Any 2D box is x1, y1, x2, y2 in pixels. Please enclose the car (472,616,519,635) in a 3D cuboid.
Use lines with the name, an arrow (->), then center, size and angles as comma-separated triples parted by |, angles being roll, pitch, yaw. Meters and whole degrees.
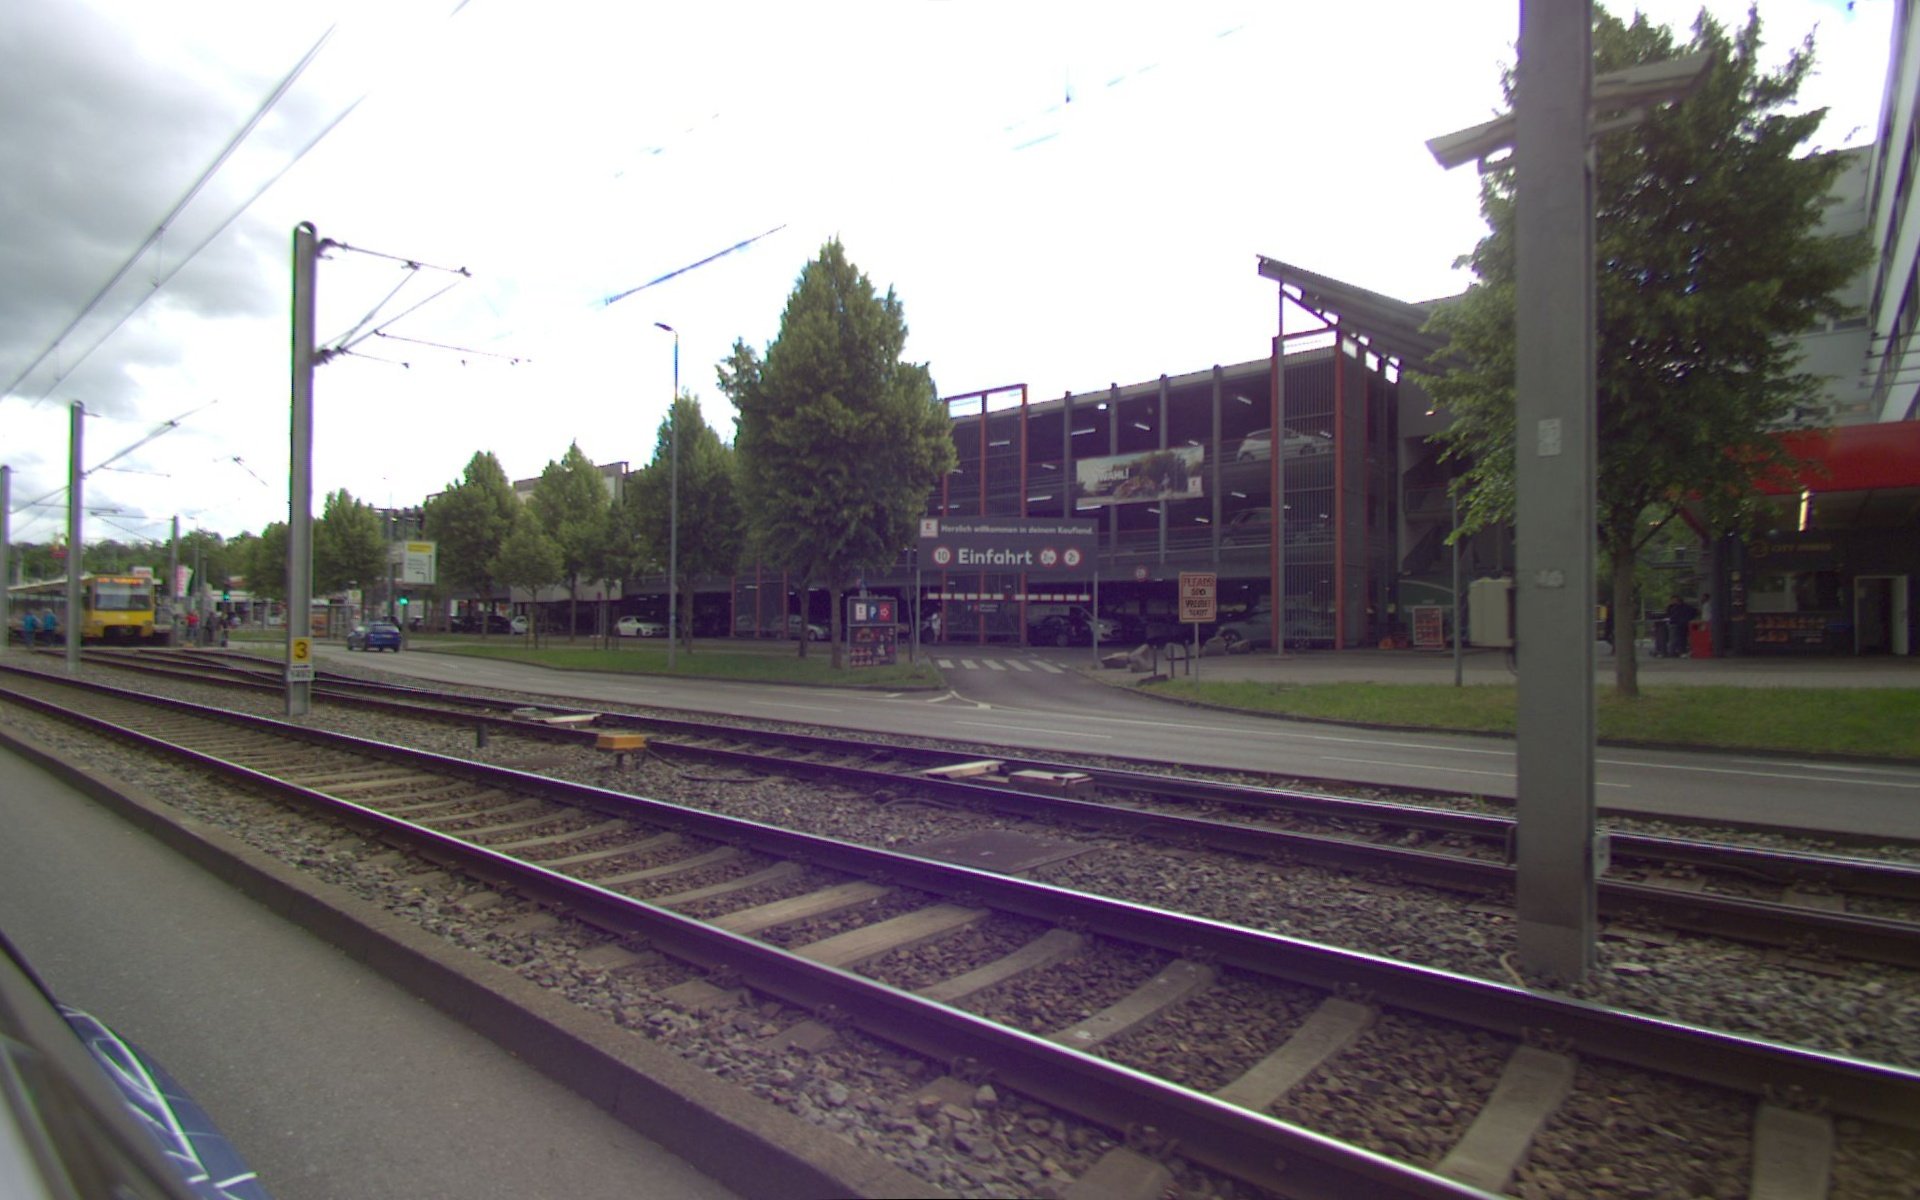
car -> -40.023, 2.173, 87.190 | 4.402, 1.640, 1.973 | -1, -1, 41

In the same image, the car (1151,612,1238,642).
car -> 13.226, 1.525, 57.232 | 4.402, 1.640, 1.973 | -1, -1, 41

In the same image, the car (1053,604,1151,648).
car -> 6.923, 1.264, 49.550 | 4.402, 2.029, 1.973 | -1, -1, 41

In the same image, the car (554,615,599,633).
car -> -35.321, 2.189, 93.166 | 4.402, 1.640, 1.973 | -1, -1, 41

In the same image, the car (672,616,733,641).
car -> -18.123, 1.958, 71.186 | 4.402, 1.712, 1.973 | -1, -1, 41

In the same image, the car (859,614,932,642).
car -> -4.050, 1.708, 62.789 | 4.402, 1.712, 1.973 | -1, -1, 41

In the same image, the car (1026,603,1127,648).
car -> 5.452, 1.199, 47.642 | 4.402, 2.029, 1.973 | -1, -1, 41

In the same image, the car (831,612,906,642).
car -> -5.494, 1.589, 60.627 | 4.402, 1.712, 1.973 | -1, -1, 41

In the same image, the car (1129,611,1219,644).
car -> 11.683, 1.499, 55.362 | 4.402, 1.754, 1.973 | -1, -1, 41

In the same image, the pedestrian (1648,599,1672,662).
pedestrian -> 20.554, 0.892, 29.721 | 0.492, 1.811, 0.372 | -1, -2, 44

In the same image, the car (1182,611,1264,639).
car -> 15.890, 1.496, 61.177 | 4.402, 1.640, 1.973 | -1, -1, 41

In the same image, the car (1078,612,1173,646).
car -> 8.413, 1.446, 51.537 | 4.402, 1.662, 1.973 | -1, -1, 41

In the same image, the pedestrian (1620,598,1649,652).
pedestrian -> 24.464, 0.904, 36.702 | 0.648, 1.941, 0.581 | 0, -1, 10

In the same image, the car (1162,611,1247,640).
car -> 14.325, 1.511, 59.424 | 4.402, 1.640, 1.973 | -1, -1, 41

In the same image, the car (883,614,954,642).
car -> -2.668, 1.779, 64.566 | 4.402, 1.712, 1.973 | -1, -1, 41

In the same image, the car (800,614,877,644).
car -> -7.051, 1.651, 58.566 | 4.402, 1.640, 1.973 | -1, -1, 41

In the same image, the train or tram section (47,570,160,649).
train or tram section -> -46.314, 0.582, 54.487 | 13.783, 3.804, 2.741 | -1, -2, 42

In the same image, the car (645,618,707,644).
car -> -19.520, 2.080, 69.502 | 4.402, 1.712, 1.973 | -1, -1, 41

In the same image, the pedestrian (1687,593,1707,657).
pedestrian -> 21.194, 0.721, 29.108 | 0.377, 1.811, 0.589 | -1, -2, 41

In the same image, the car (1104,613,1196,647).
car -> 9.999, 1.549, 53.553 | 4.402, 1.731, 1.973 | -1, -1, 41

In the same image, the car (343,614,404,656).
car -> -29.722, 1.728, 51.203 | 1.969, 2.029, 4.006 | 1, -1, -41

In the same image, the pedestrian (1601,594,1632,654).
pedestrian -> 21.506, 0.799, 33.148 | 0.648, 1.941, 0.581 | 0, -1, 10
